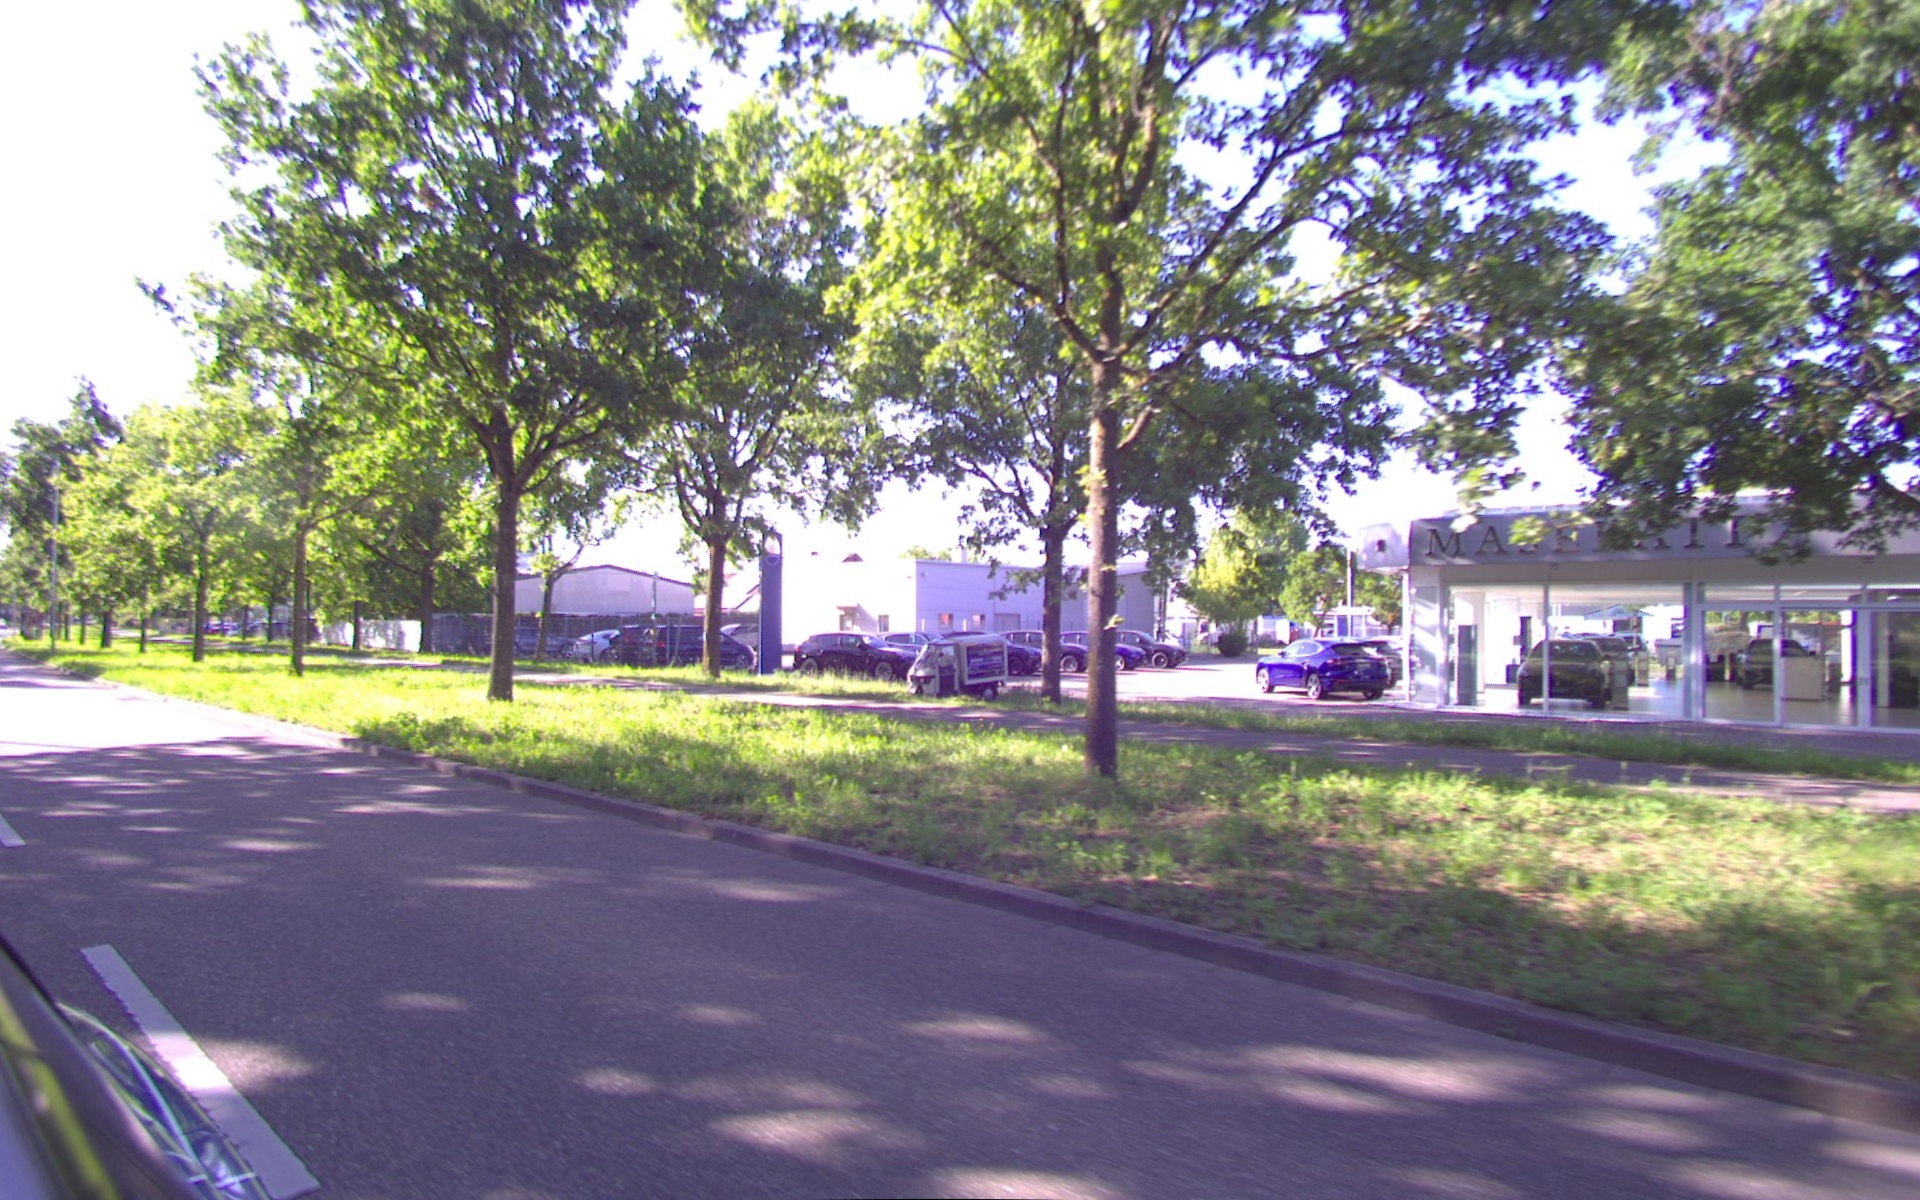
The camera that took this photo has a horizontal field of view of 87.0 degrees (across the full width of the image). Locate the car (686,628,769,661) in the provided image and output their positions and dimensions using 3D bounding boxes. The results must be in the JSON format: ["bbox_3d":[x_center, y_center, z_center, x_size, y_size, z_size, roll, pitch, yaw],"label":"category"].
[{"bbox_3d":[-12.117,2.282,52.877,1.752,1.530,3.942,-1,0,44],"label":"car"}]

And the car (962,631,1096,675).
[{"bbox_3d":[2.821,2.153,42.005,5.239,1.673,1.980,-1,0,30],"label":"car"}]

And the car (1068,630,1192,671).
[{"bbox_3d":[7.754,2.268,46.341,5.239,1.673,1.980,-1,0,30],"label":"car"}]

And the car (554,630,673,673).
[{"bbox_3d":[-14.168,2.060,41.517,1.862,1.530,4.262,-1,0,44],"label":"car"}]

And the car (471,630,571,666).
[{"bbox_3d":[-21.368,2.281,49.293,2.199,1.530,3.942,-1,0,44],"label":"car"}]

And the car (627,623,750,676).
[{"bbox_3d":[-9.992,1.770,37.379,3.941,1.755,2.001,-1,0,-45],"label":"car"}]

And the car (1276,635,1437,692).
[{"bbox_3d":[12.708,1.992,32.833,1.965,1.673,5.026,0,-2,-21],"label":"car"}]

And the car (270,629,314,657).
[{"bbox_3d":[-54.315,3.433,82.225,1.970,2.191,5.675,1,-2,-44],"label":"car"}]

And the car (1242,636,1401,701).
[{"bbox_3d":[10.271,1.893,29.318,1.968,1.673,5.270,-1,-2,-10],"label":"car"}]

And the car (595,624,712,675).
[{"bbox_3d":[-11.933,1.892,39.549,1.863,1.759,3.942,-1,0,44],"label":"car"}]

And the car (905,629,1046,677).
[{"bbox_3d":[0.579,2.036,39.648,5.239,1.702,1.980,-1,0,30],"label":"car"}]

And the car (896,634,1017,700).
[{"bbox_3d":[-0.090,1.573,24.303,2.531,1.481,1.430,1,-2,-31],"label":"car"}]

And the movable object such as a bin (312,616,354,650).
[{"bbox_3d":[-49.199,2.545,79.327,1.970,2.535,4.239,-1,0,-44],"label":"movable object such as a bin"}]

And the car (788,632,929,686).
[{"bbox_3d":[-3.488,1.973,34.748,4.476,1.688,1.982,-1,0,27],"label":"car"}]

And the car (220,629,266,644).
[{"bbox_3d":[-78.060,3.939,110.238,3.826,1.513,2.007,-1,0,-24],"label":"car"}]

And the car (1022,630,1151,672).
[{"bbox_3d":[5.483,2.180,44.142,5.239,1.673,1.980,-1,0,30],"label":"car"}]

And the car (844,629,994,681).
[{"bbox_3d":[-1.525,1.967,37.003,5.235,1.730,1.981,-1,0,28],"label":"car"}]
